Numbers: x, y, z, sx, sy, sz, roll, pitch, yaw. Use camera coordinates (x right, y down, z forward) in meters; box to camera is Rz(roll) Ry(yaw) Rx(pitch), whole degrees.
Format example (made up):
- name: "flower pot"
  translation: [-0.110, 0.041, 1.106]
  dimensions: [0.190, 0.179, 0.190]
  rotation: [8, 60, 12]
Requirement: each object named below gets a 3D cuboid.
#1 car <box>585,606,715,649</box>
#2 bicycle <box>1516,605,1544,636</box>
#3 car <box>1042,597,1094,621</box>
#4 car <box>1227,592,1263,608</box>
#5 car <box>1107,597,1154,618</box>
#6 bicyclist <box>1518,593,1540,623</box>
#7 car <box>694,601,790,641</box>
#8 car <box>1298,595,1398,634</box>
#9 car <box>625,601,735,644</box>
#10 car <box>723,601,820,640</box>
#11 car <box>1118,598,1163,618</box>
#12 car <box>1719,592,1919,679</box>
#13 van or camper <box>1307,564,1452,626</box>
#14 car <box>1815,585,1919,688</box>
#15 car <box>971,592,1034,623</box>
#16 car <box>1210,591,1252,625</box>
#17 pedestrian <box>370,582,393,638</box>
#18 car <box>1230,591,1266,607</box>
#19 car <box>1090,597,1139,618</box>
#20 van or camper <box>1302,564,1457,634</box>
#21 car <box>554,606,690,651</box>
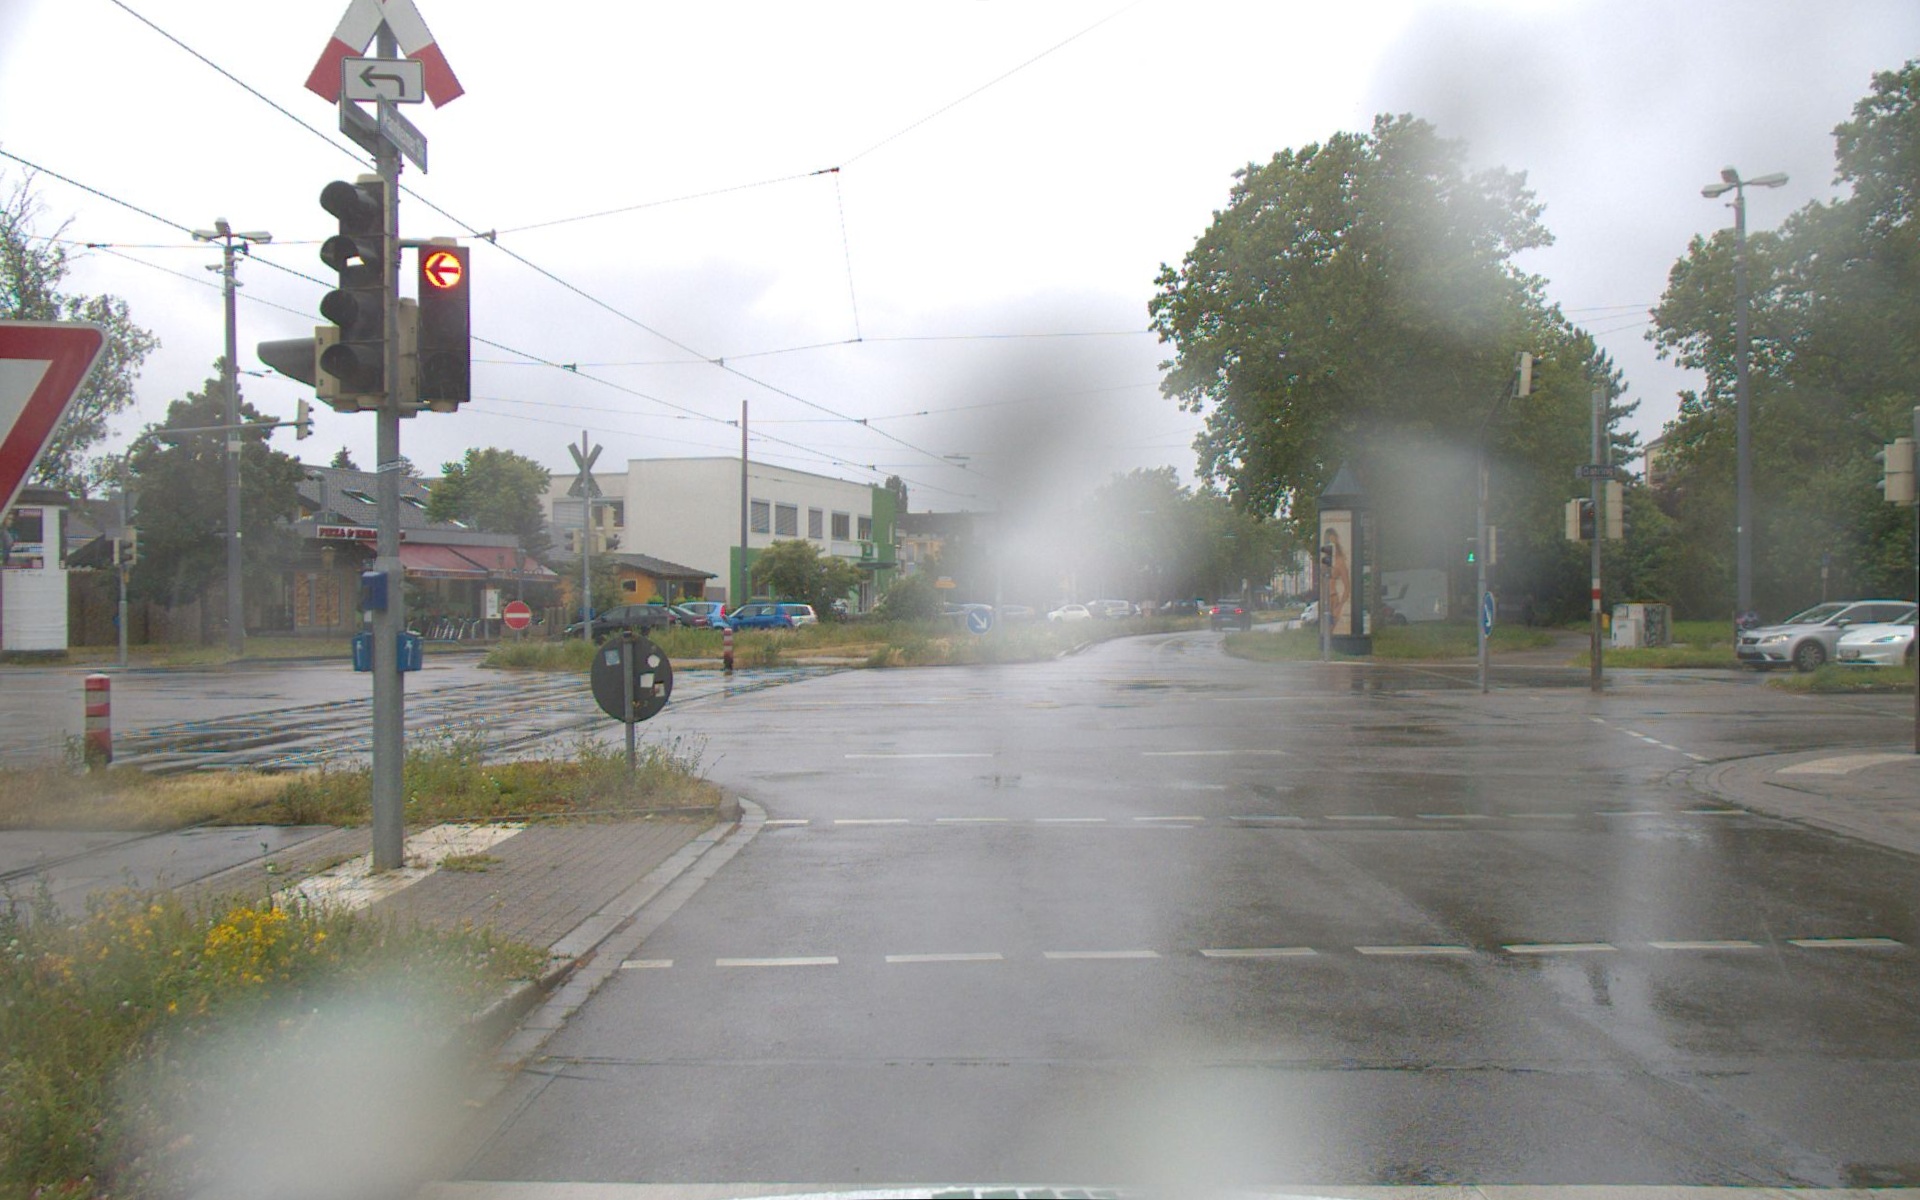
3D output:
- name: "car"
  translation: [-11.441, 1.006, 61.203]
  dimensions: [4.405, 1.443, 1.858]
  rotation: [-2, 0, 0]
- name: "bicycle"
  translation: [27.960, 0.997, 81.160]
  dimensions: [0.843, 1.450, 2.706]
  rotation: [1, 0, 10]
- name: "car"
  translation: [8.270, 0.685, 126.879]
  dimensions: [3.706, 1.732, 1.832]
  rotation: [1, 0, -11]
- name: "car"
  translation: [34.293, -0.035, 199.204]
  dimensions: [3.909, 1.864, 1.998]
  rotation: [1, 0, -5]
- name: "car"
  translation: [15.886, 0.689, 154.074]
  dimensions: [3.916, 1.864, 1.994]
  rotation: [1, 0, -12]
- name: "bicyclist"
  translation: [28.019, 0.403, 81.473]
  dimensions: [0.843, 1.450, 0.957]
  rotation: [1, 0, 10]
- name: "car"
  translation: [-9.188, 0.876, 69.545]
  dimensions: [3.916, 1.609, 1.924]
  rotation: [0, 0, -12]
- name: "car"
  translation: [18.263, 0.658, 77.801]
  dimensions: [4.352, 1.747, 2.000]
  rotation: [1, 0, 21]
- name: "car"
  translation: [-10.886, 0.874, 64.539]
  dimensions: [3.903, 1.609, 1.859]
  rotation: [0, 0, 4]
- name: "car"
  translation: [-8.301, 0.875, 72.782]
  dimensions: [4.040, 1.670, 1.922]
  rotation: [0, 0, -15]
- name: "car"
  translation: [17.358, 0.736, 159.165]
  dimensions: [3.909, 1.864, 1.998]
  rotation: [1, 0, -5]
- name: "car"
  translation: [18.455, 0.729, 34.629]
  dimensions: [4.309, 1.721, 1.931]
  rotation: [1, 0, -7]
- name: "van or camper"
  translation: [22.822, -0.267, 90.031]
  dimensions: [7.274, 3.234, 3.262]
  rotation: [1, 0, 22]
- name: "car"
  translation: [18.878, 0.702, 31.300]
  dimensions: [4.506, 1.860, 1.931]
  rotation: [1, 0, -7]
- name: "car"
  translation: [2.840, 0.499, 110.186]
  dimensions: [3.911, 1.920, 1.997]
  rotation: [1, 0, -7]
- name: "car"
  translation: [14.476, 0.436, 88.215]
  dimensions: [1.768, 1.716, 3.914]
  rotation: [1, 0, 16]
- name: "pedestrian"
  translation: [-21.107, 0.364, 60.308]
  dimensions: [0.713, 2.049, 0.789]
  rotation: [1, -1, -23]
- name: "car"
  translation: [35.500, -0.164, 203.956]
  dimensions: [3.909, 1.864, 1.998]
  rotation: [1, 0, -5]
- name: "car"
  translation: [13.528, 0.648, 145.075]
  dimensions: [3.916, 1.789, 2.004]
  rotation: [1, 0, -12]
- name: "van or camper"
  translation: [20.531, -0.045, 80.873]
  dimensions: [7.168, 3.234, 3.264]
  rotation: [1, 0, 17]
- name: "car"
  translation: [-11.975, 0.994, 58.787]
  dimensions: [4.385, 1.443, 1.858]
  rotation: [-2, 0, 0]
